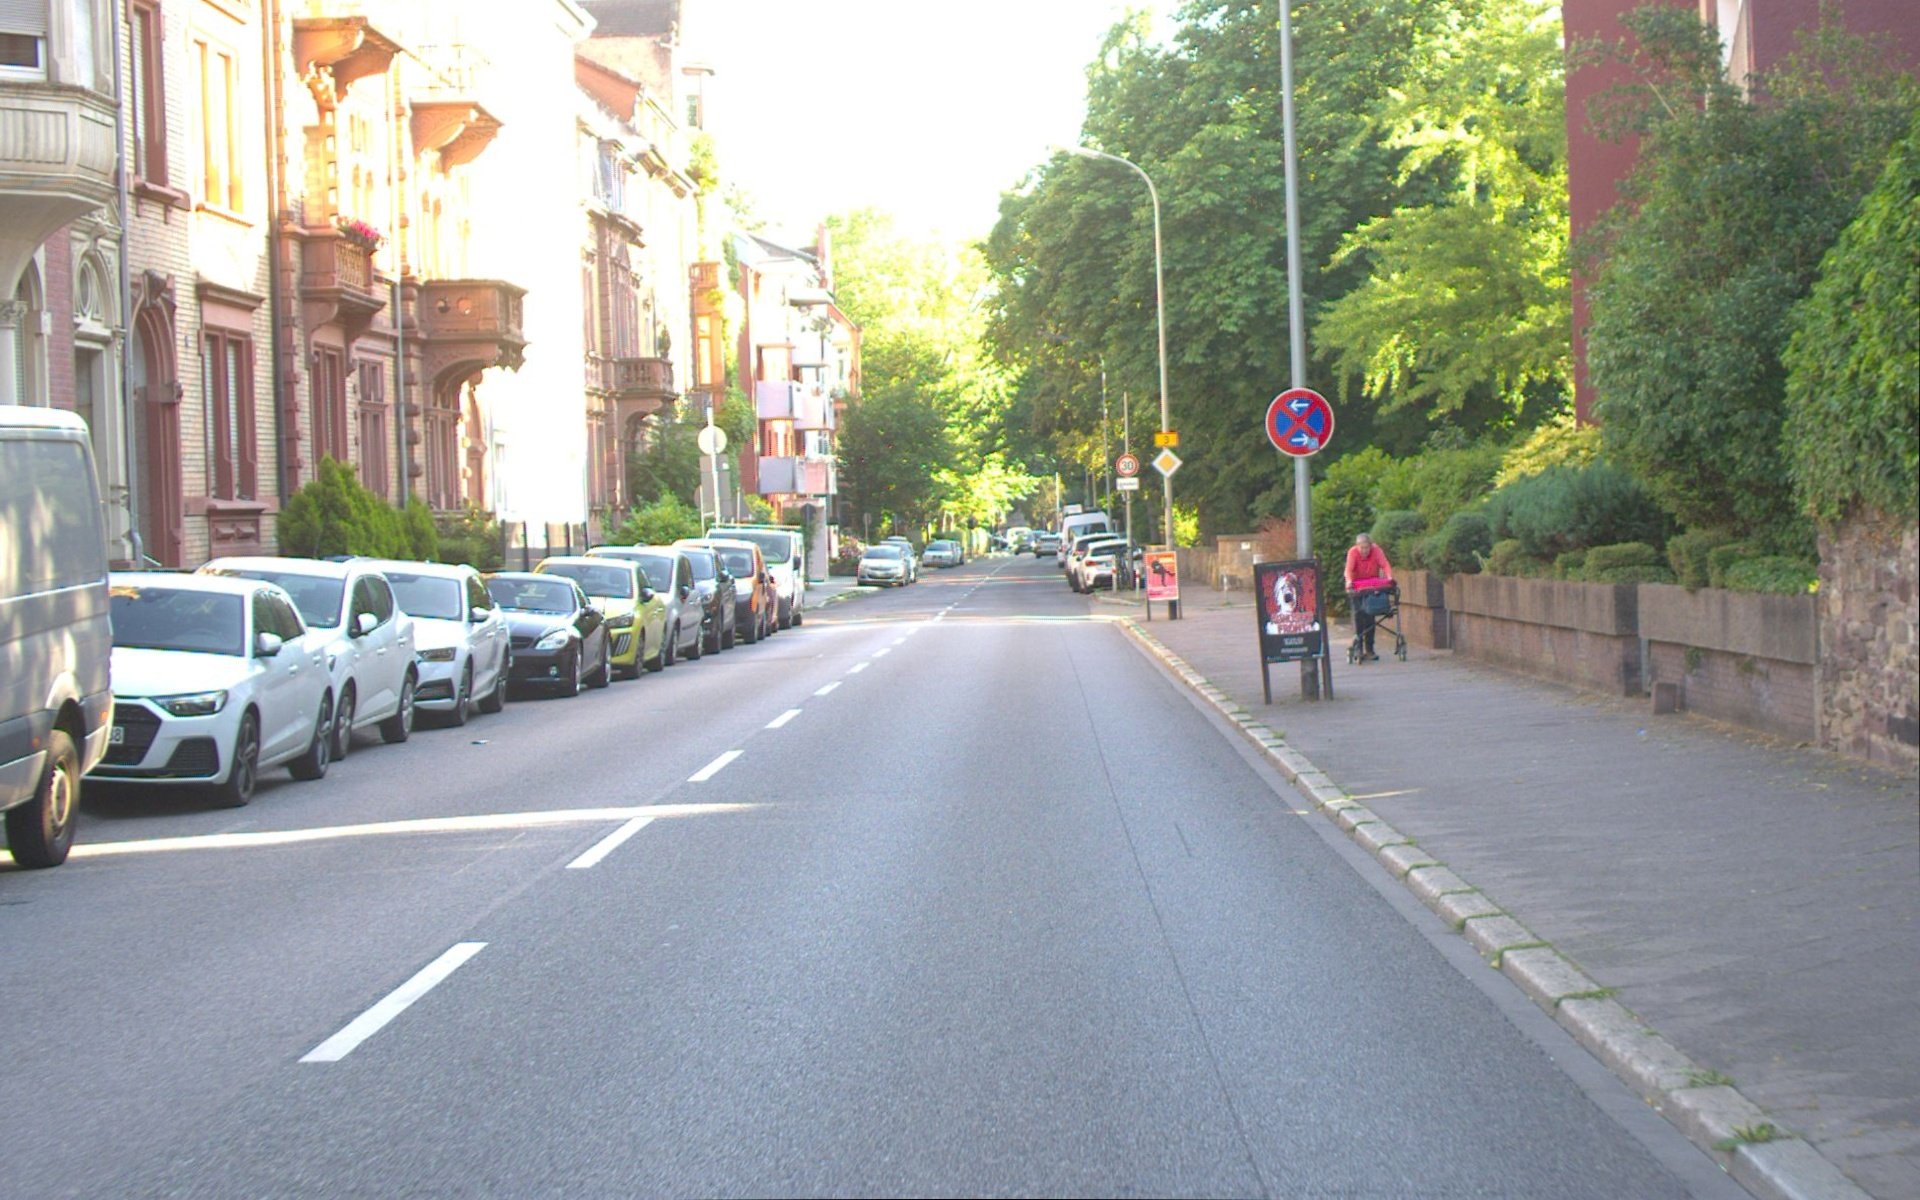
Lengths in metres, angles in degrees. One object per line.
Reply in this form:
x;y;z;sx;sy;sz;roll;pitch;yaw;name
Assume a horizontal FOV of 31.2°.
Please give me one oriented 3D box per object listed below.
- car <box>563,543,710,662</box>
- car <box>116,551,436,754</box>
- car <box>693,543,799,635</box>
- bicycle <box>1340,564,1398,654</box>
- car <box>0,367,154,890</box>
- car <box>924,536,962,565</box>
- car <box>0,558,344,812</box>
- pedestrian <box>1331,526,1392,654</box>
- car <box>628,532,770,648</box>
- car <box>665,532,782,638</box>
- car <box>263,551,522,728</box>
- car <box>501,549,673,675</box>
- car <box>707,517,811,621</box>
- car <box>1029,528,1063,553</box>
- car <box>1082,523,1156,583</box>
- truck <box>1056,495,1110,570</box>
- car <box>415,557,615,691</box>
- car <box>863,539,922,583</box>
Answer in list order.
-4.495;0.005;48.122;1.702;1.578;3.635;0;1;0;car
-5.476;0.369;27.985;1.702;1.497;4.021;0;1;2;car
-3.922;-0.227;63.573;1.702;1.614;4.118;0;1;0;car
4.486;0.096;37.693;0.566;0.967;0.492;0;2;-1;bicycle
-5.547;0.141;15.868;2.068;2.452;6.014;0;1;2;car
-0.961;-2.842;196.834;1.993;1.486;4.471;-2;2;1;car
-5.278;0.492;22.747;1.702;1.497;3.823;0;1;0;car
4.467;-0.119;38.283;0.597;1.398;0.668;0;2;0;pedestrian
-3.984;-0.185;53.162;1.702;1.702;4.440;0;1;2;car
-3.979;-0.286;58.311;1.702;1.732;3.857;0;1;0;car
-5.330;0.320;32.817;1.702;1.531;4.549;0;1;0;car
-4.626;0.142;43.114;1.702;1.498;4.072;0;0;0;car
-3.996;-0.655;68.915;1.793;2.003;4.698;0;1;0;car
5.722;-3.977;229.869;1.993;1.486;4.471;-2;2;-2;car
4.505;-1.350;97.430;1.994;1.512;4.000;-2;2;3;car
4.955;-2.753;138.687;1.993;2.887;4.471;-2;2;1;truck
-4.871;0.225;38.041;1.702;1.362;3.860;0;1;0;car
-2.530;-1.488;130.124;1.993;1.486;4.471;-2;2;1;car
